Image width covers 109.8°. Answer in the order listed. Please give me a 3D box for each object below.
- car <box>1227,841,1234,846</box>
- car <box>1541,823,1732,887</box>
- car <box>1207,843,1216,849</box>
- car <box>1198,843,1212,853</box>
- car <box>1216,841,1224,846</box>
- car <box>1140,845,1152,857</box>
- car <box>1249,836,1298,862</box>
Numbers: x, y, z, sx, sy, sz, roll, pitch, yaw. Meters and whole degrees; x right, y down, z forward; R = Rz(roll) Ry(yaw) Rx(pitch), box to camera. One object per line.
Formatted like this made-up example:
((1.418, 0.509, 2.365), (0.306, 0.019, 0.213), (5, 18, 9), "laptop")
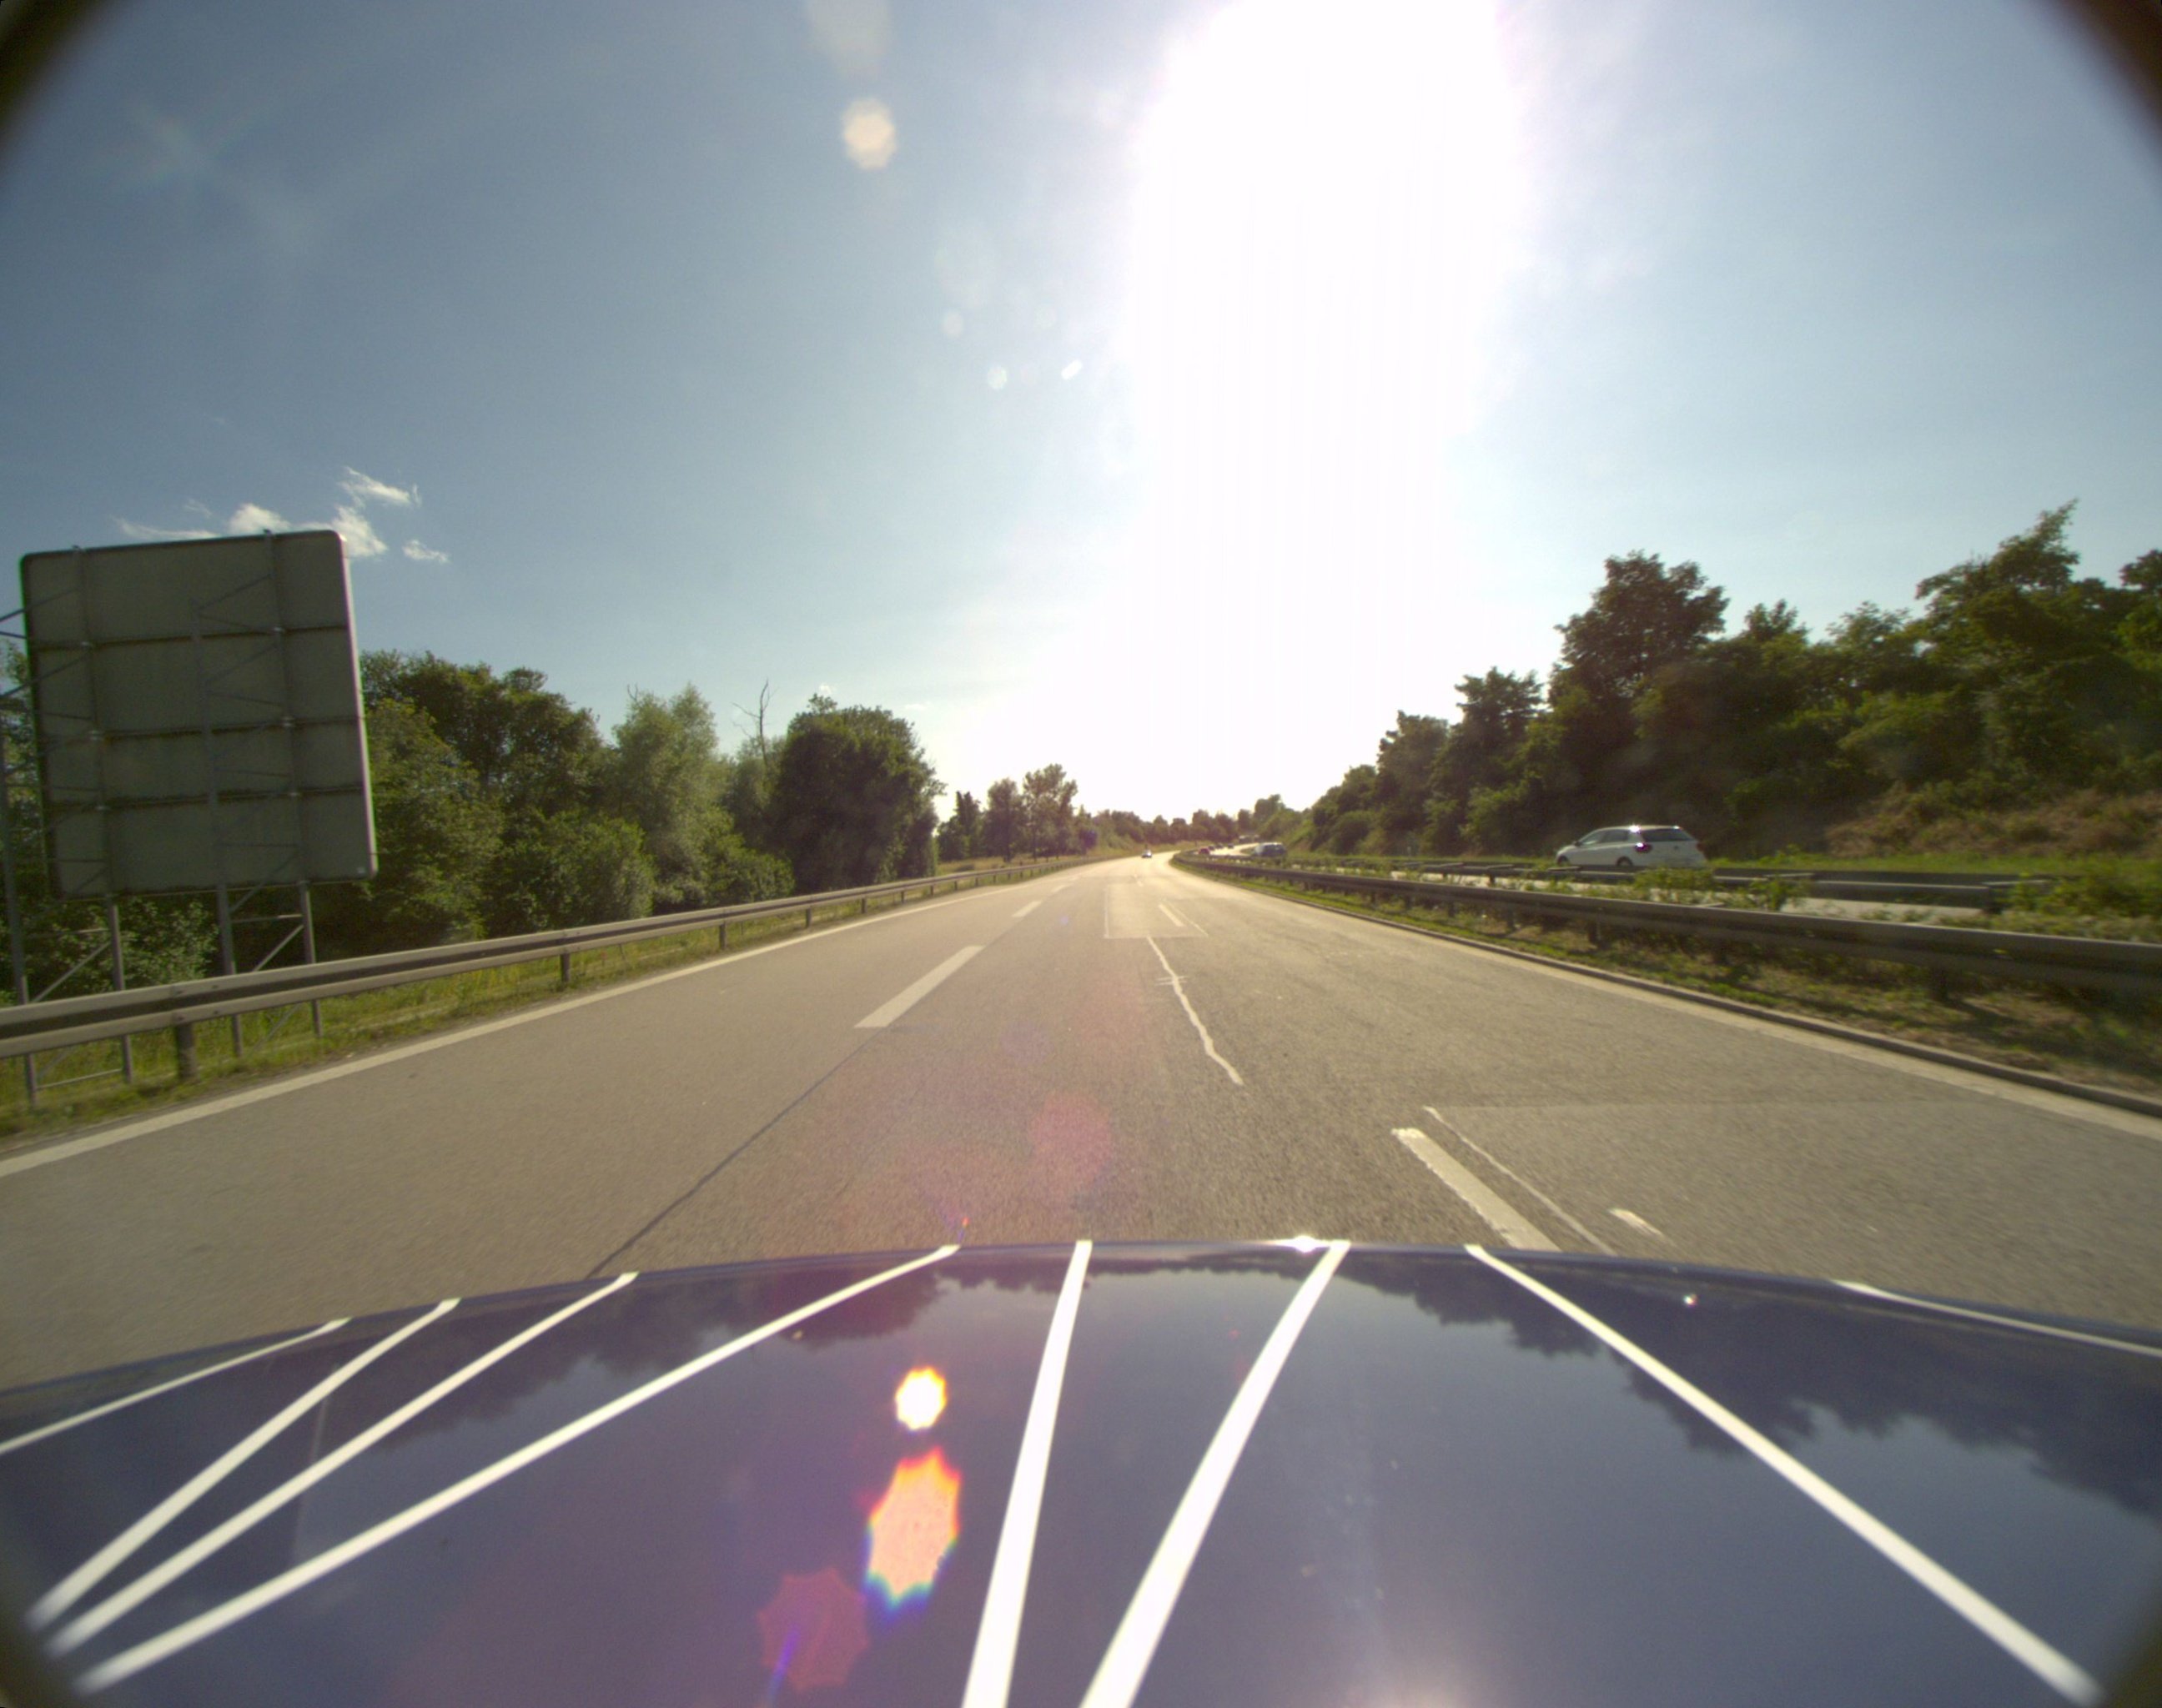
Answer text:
((46.198, -3.237, 234.615), (1.823, 1.471, 4.687), (-2, 1, 8), "car")
((14.521, 0.027, 20.231), (1.844, 1.430, 4.412), (-3, 0, 1), "car")
((33.099, -2.028, 192.999), (1.998, 1.642, 4.435), (-1, 1, 5), "car")
((19.384, -0.918, 118.586), (1.648, 1.446, 4.907), (-2, 2, 3), "car")
((42.806, -3.249, 233.658), (2.072, 1.669, 4.889), (0, 1, 7), "car")
((12.503, -0.579, 145.711), (1.998, 2.002, 4.600), (-4, 0, 5), "car")
((12.273, -0.312, 48.748), (1.998, 1.536, 4.676), (-2, 1, 1), "car")
